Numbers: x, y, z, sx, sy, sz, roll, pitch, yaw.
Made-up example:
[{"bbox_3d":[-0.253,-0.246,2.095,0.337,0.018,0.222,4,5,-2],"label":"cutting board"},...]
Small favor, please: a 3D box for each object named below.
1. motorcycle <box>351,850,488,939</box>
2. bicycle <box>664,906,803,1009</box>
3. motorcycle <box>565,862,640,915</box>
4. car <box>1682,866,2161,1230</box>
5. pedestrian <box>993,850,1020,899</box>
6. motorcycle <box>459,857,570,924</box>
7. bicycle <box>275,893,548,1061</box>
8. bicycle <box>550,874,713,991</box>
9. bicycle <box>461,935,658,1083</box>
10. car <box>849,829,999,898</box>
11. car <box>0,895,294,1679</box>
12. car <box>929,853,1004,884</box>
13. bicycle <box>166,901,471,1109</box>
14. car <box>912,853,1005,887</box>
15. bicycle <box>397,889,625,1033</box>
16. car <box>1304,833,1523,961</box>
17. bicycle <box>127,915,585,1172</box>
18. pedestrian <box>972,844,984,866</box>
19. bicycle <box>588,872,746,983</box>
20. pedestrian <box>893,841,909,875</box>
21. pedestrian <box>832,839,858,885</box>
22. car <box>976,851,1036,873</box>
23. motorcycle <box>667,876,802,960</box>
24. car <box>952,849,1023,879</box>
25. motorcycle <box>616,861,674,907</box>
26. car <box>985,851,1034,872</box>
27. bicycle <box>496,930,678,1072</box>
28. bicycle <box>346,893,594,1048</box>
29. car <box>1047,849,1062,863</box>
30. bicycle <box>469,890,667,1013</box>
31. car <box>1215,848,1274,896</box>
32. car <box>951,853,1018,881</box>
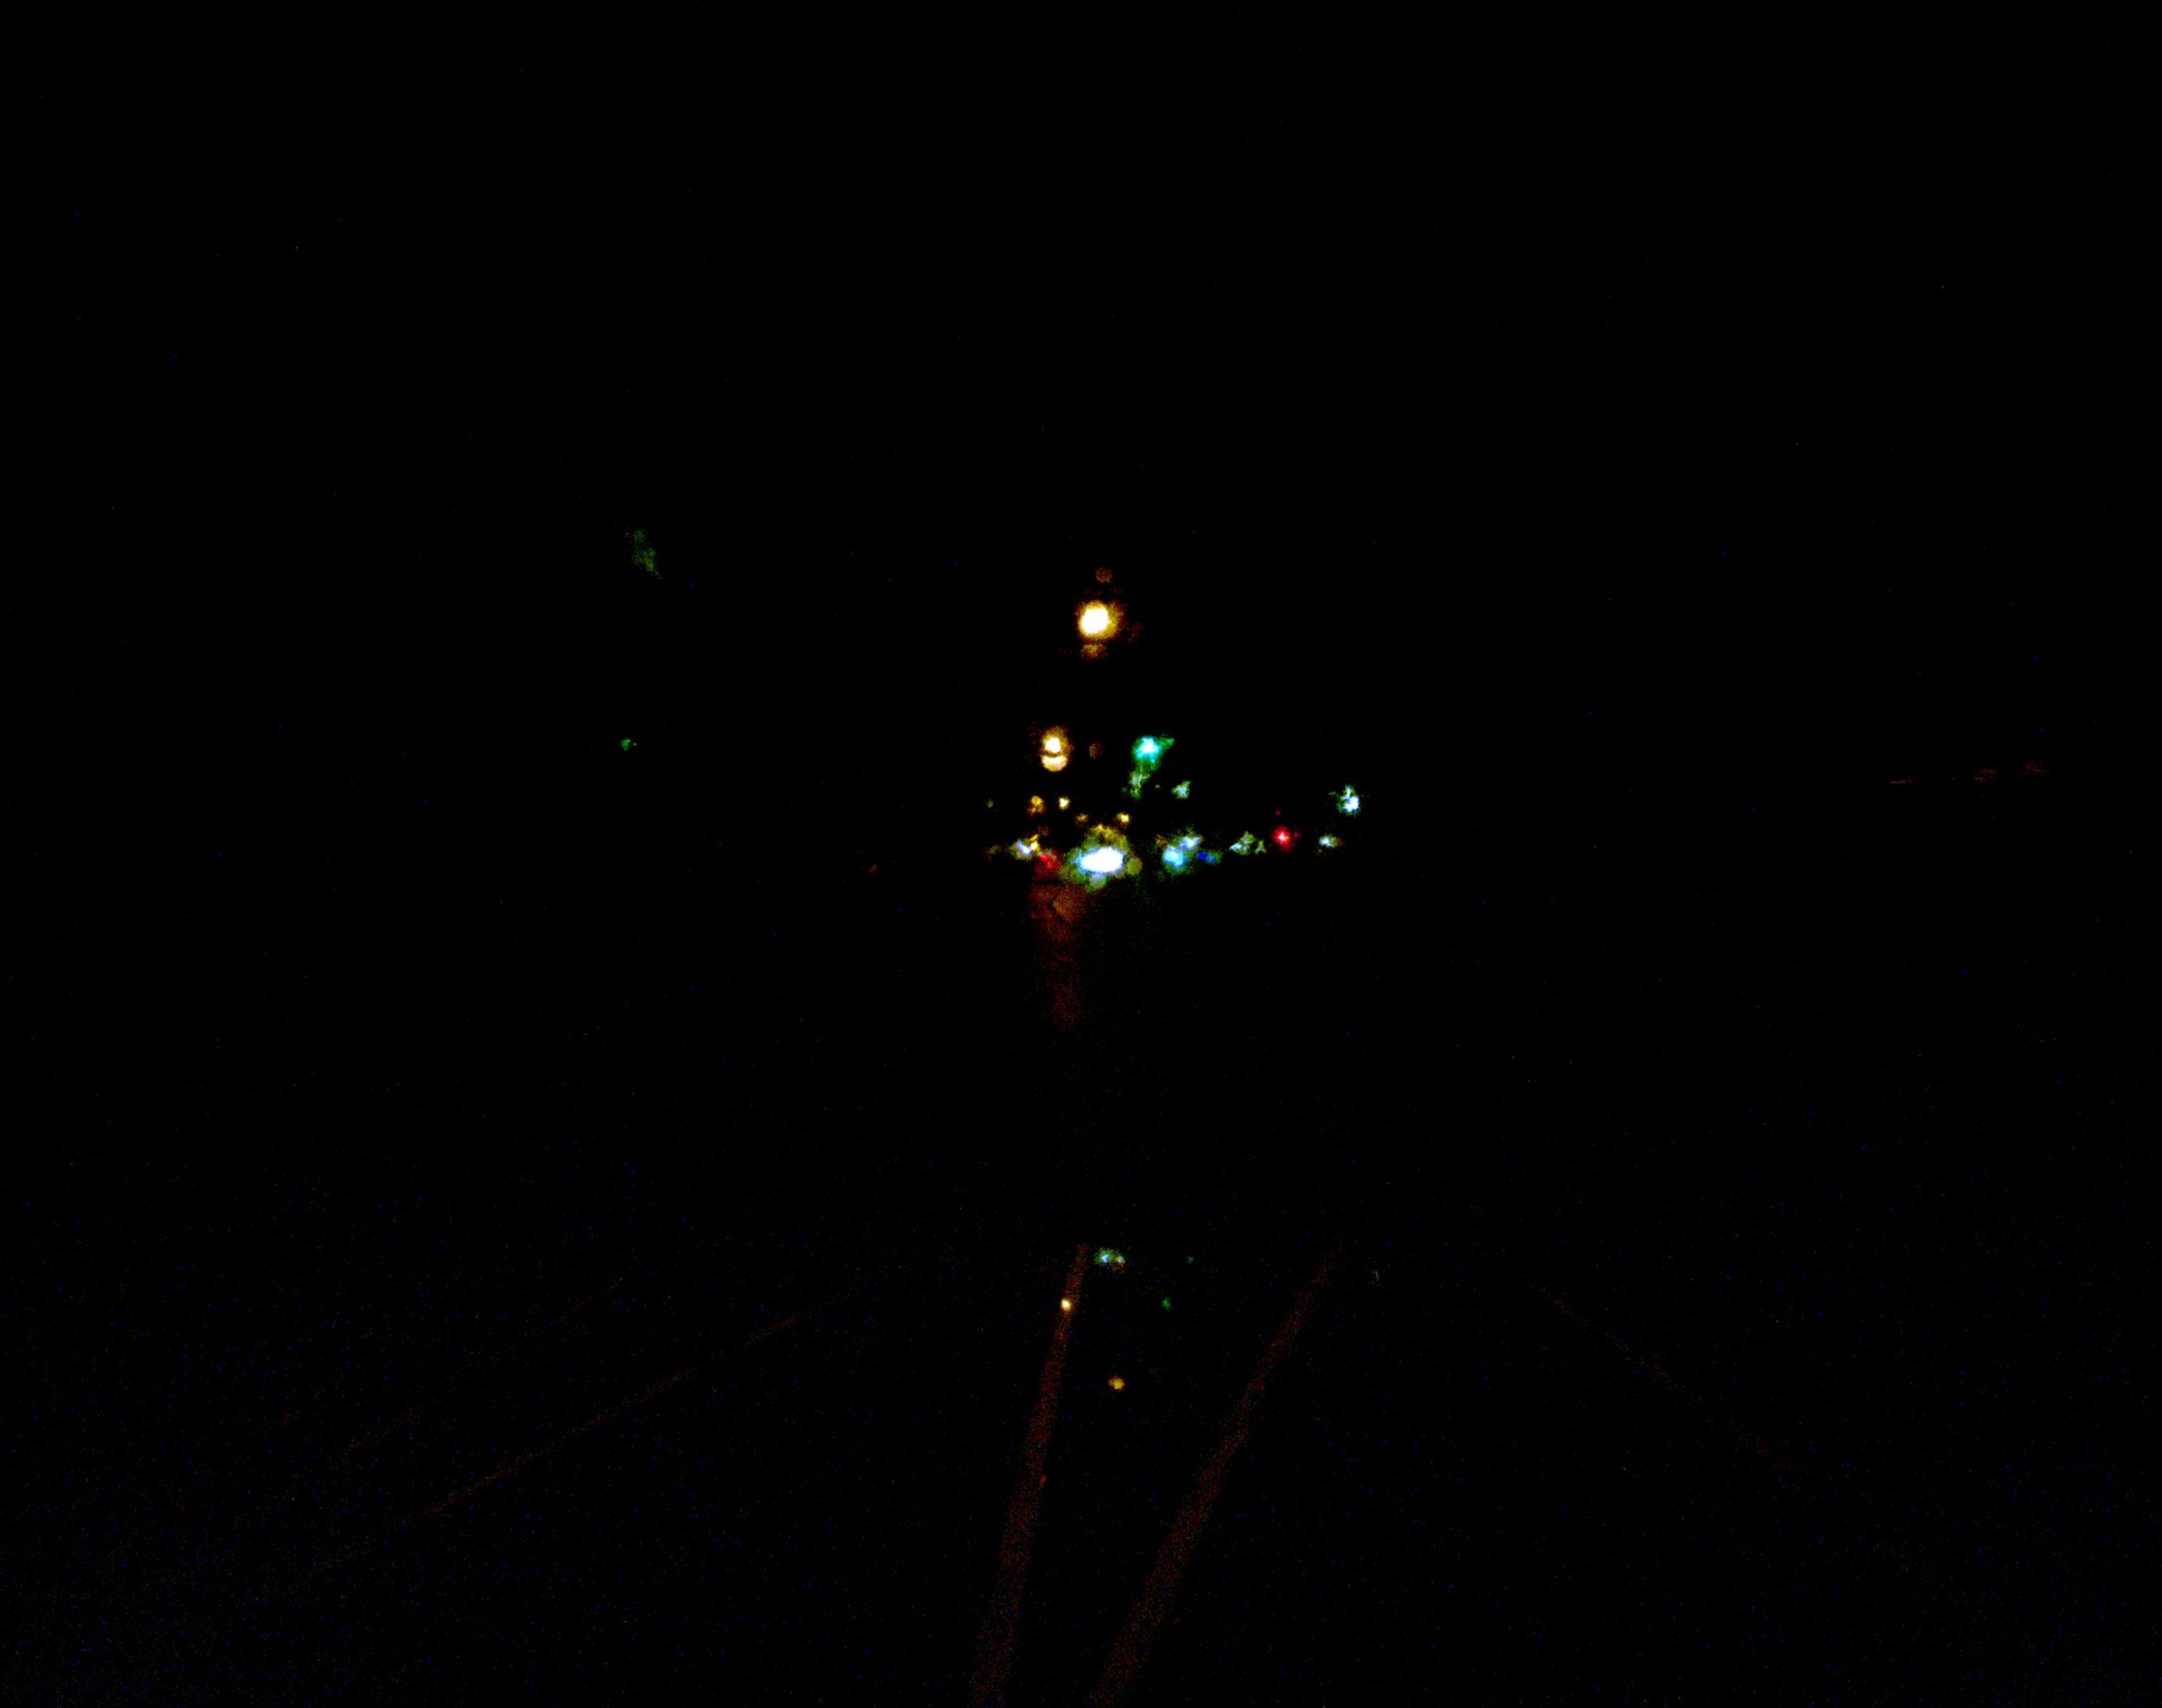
[{"bbox_3d":[-10.604,0.595,12.293,0.524,1.311,2.124,-1,0,-5],"label":"motorcycle"},{"bbox_3d":[-3.513,1.042,7.709,1.214,0.942,0.302,3,1,-2],"label":"bicycle"},{"bbox_3d":[-10.535,0.731,16.816,0.524,1.061,2.056,-1,1,-6],"label":"motorcycle"},{"bbox_3d":[5.340,0.848,3.983,1.550,1.434,3.563,-2,0,0],"label":"car"},{"bbox_3d":[-2.696,0.721,27.575,0.824,1.760,1.177,0,1,1],"label":"pedestrian"},{"bbox_3d":[-10.829,0.655,14.627,0.524,1.200,2.125,-1,0,0],"label":"motorcycle"},{"bbox_3d":[-4.927,0.893,5.640,1.600,1.151,0.418,1,0,-2],"label":"bicycle"},{"bbox_3d":[-4.997,0.855,8.479,1.583,1.227,0.418,1,0,3],"label":"bicycle"},{"bbox_3d":[-3.553,1.051,5.203,1.135,0.942,0.267,1,0,-1],"label":"bicycle"},{"bbox_3d":[-5.765,0.321,28.036,4.951,2.327,2.226,0,1,-33],"label":"car"},{"bbox_3d":[-3.955,0.862,0.981,3.717,1.514,1.653,2,1,-24],"label":"car"},{"bbox_3d":[-5.957,0.722,39.633,3.518,1.552,1.590,0,1,-35],"label":"car"},{"bbox_3d":[-4.880,0.921,4.891,1.598,1.151,0.540,1,0,9],"label":"bicycle"},{"bbox_3d":[-5.849,0.730,36.341,4.058,1.552,1.746,0,1,-28],"label":"car"},{"bbox_3d":[-4.862,0.904,6.529,1.600,1.151,0.418,1,0,-2],"label":"bicycle"},{"bbox_3d":[5.487,0.605,13.365,1.871,1.835,4.827,0,0,2],"label":"car"},{"bbox_3d":[-3.845,0.960,4.114,1.893,1.151,0.680,1,0,4],"label":"bicycle"},{"bbox_3d":[-8.818,0.094,64.955,0.806,1.894,0.884,2,-2,0],"label":"pedestrian"},{"bbox_3d":[-4.885,0.856,8.995,1.668,1.227,0.385,1,0,3],"label":"bicycle"},{"bbox_3d":[-9.836,0.225,41.573,0.657,1.779,0.784,2,-1,0],"label":"pedestrian"},{"bbox_3d":[-9.752,0.348,31.389,0.747,1.829,0.843,2,-2,0],"label":"pedestrian"},{"bbox_3d":[-5.410,0.610,55.145,4.123,1.483,1.590,2,0,-37],"label":"car"},{"bbox_3d":[-5.010,0.913,11.061,1.637,1.117,0.652,2,0,-6],"label":"motorcycle"},{"bbox_3d":[-5.597,0.545,45.424,3.808,1.679,1.831,-1,1,-30],"label":"car"},{"bbox_3d":[-10.748,0.719,18.789,0.524,1.061,1.624,-1,0,-1],"label":"motorcycle"},{"bbox_3d":[-5.490,0.578,58.388,3.404,1.583,1.590,2,0,-35],"label":"car"},{"bbox_3d":[-3.544,1.050,5.476,1.135,0.968,0.249,1,1,-1],"label":"bicycle"},{"bbox_3d":[-4.856,0.915,6.086,1.600,1.151,0.418,1,0,-2],"label":"bicycle"},{"bbox_3d":[-3.463,0.237,100.042,1.810,1.759,4.272,1,0,1],"label":"car"},{"bbox_3d":[-4.941,0.932,7.364,1.600,1.105,0.418,1,0,-2],"label":"bicycle"},{"bbox_3d":[6.135,0.632,28.917,1.815,1.660,4.413,0,0,7],"label":"car"},{"bbox_3d":[-5.433,0.708,42.838,3.403,1.552,1.590,0,1,-36],"label":"car"}]
